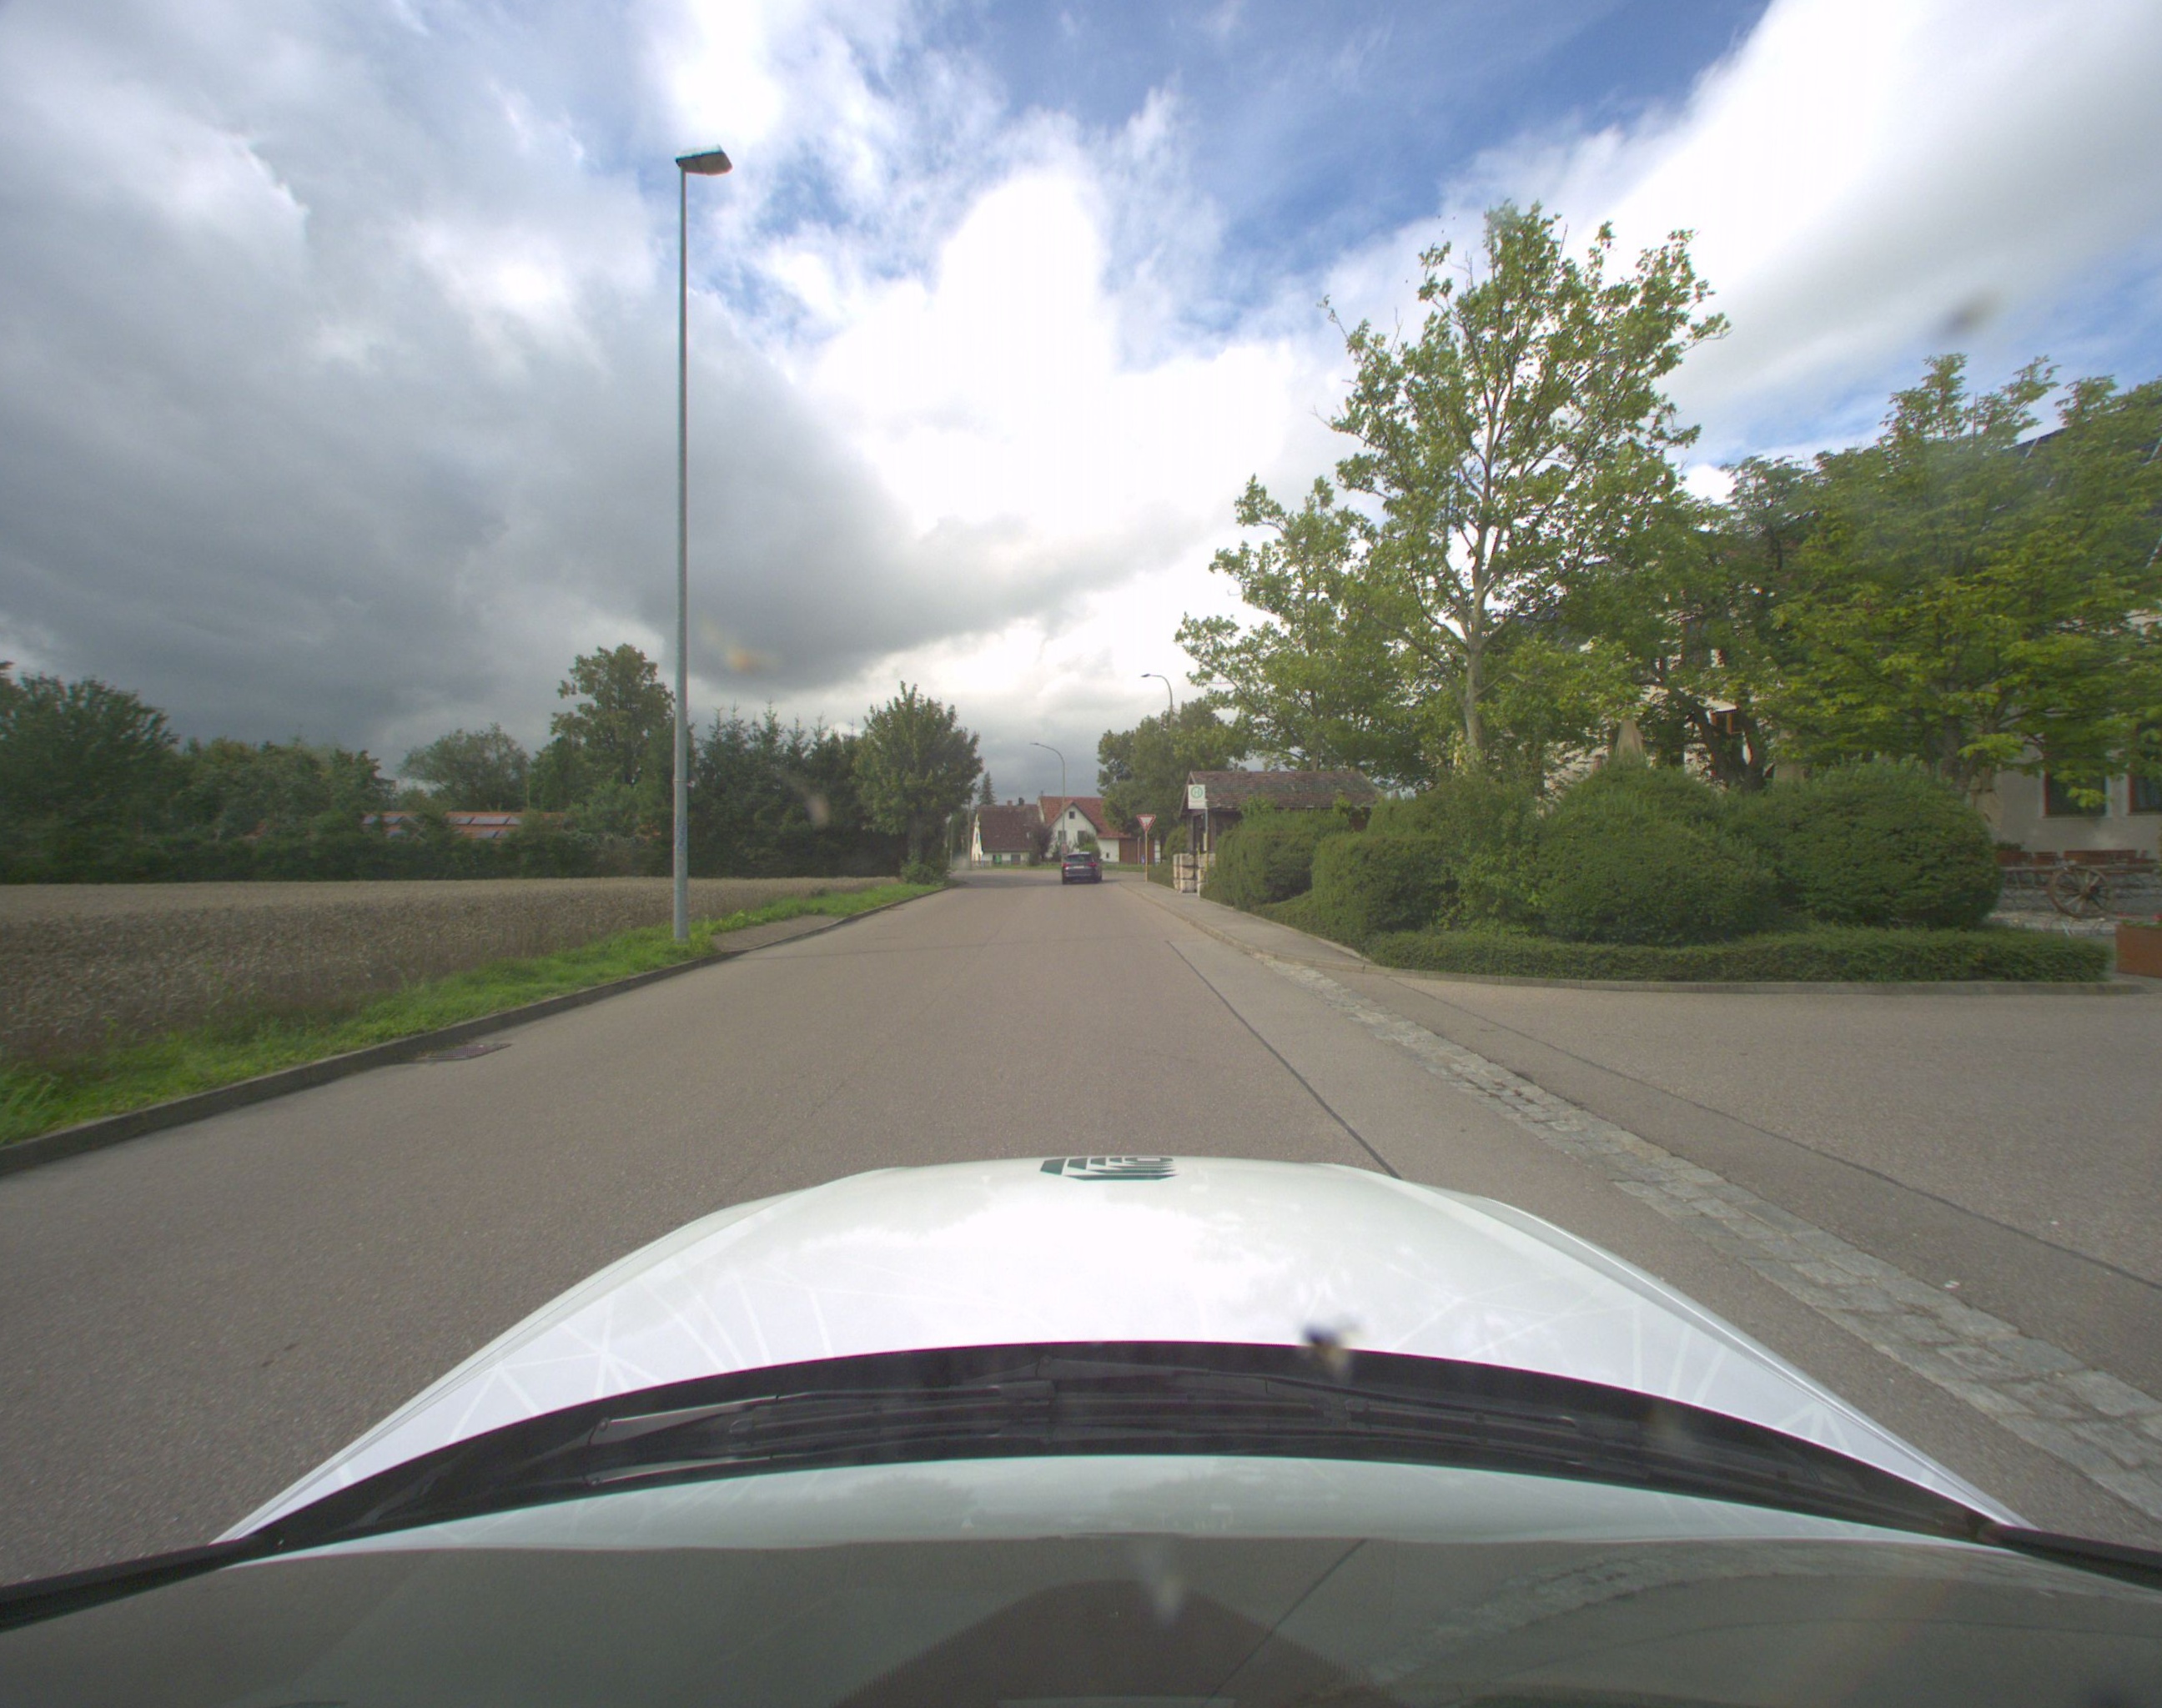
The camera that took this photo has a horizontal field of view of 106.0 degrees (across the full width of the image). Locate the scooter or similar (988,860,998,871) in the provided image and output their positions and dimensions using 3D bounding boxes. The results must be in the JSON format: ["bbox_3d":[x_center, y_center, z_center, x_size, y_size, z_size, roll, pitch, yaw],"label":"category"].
[{"bbox_3d":[-8.297,1.088,76.759,0.635,0.948,0.616,5,-3,-34],"label":"scooter or similar"}]

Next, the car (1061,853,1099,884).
[{"bbox_3d":[-0.012,0.704,40.902,1.792,1.462,3.663,-1,0,1],"label":"car"}]

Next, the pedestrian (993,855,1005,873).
[{"bbox_3d":[-7.653,0.941,76.280,0.794,1.665,0.705,5,-3,-34],"label":"pedestrian"}]
